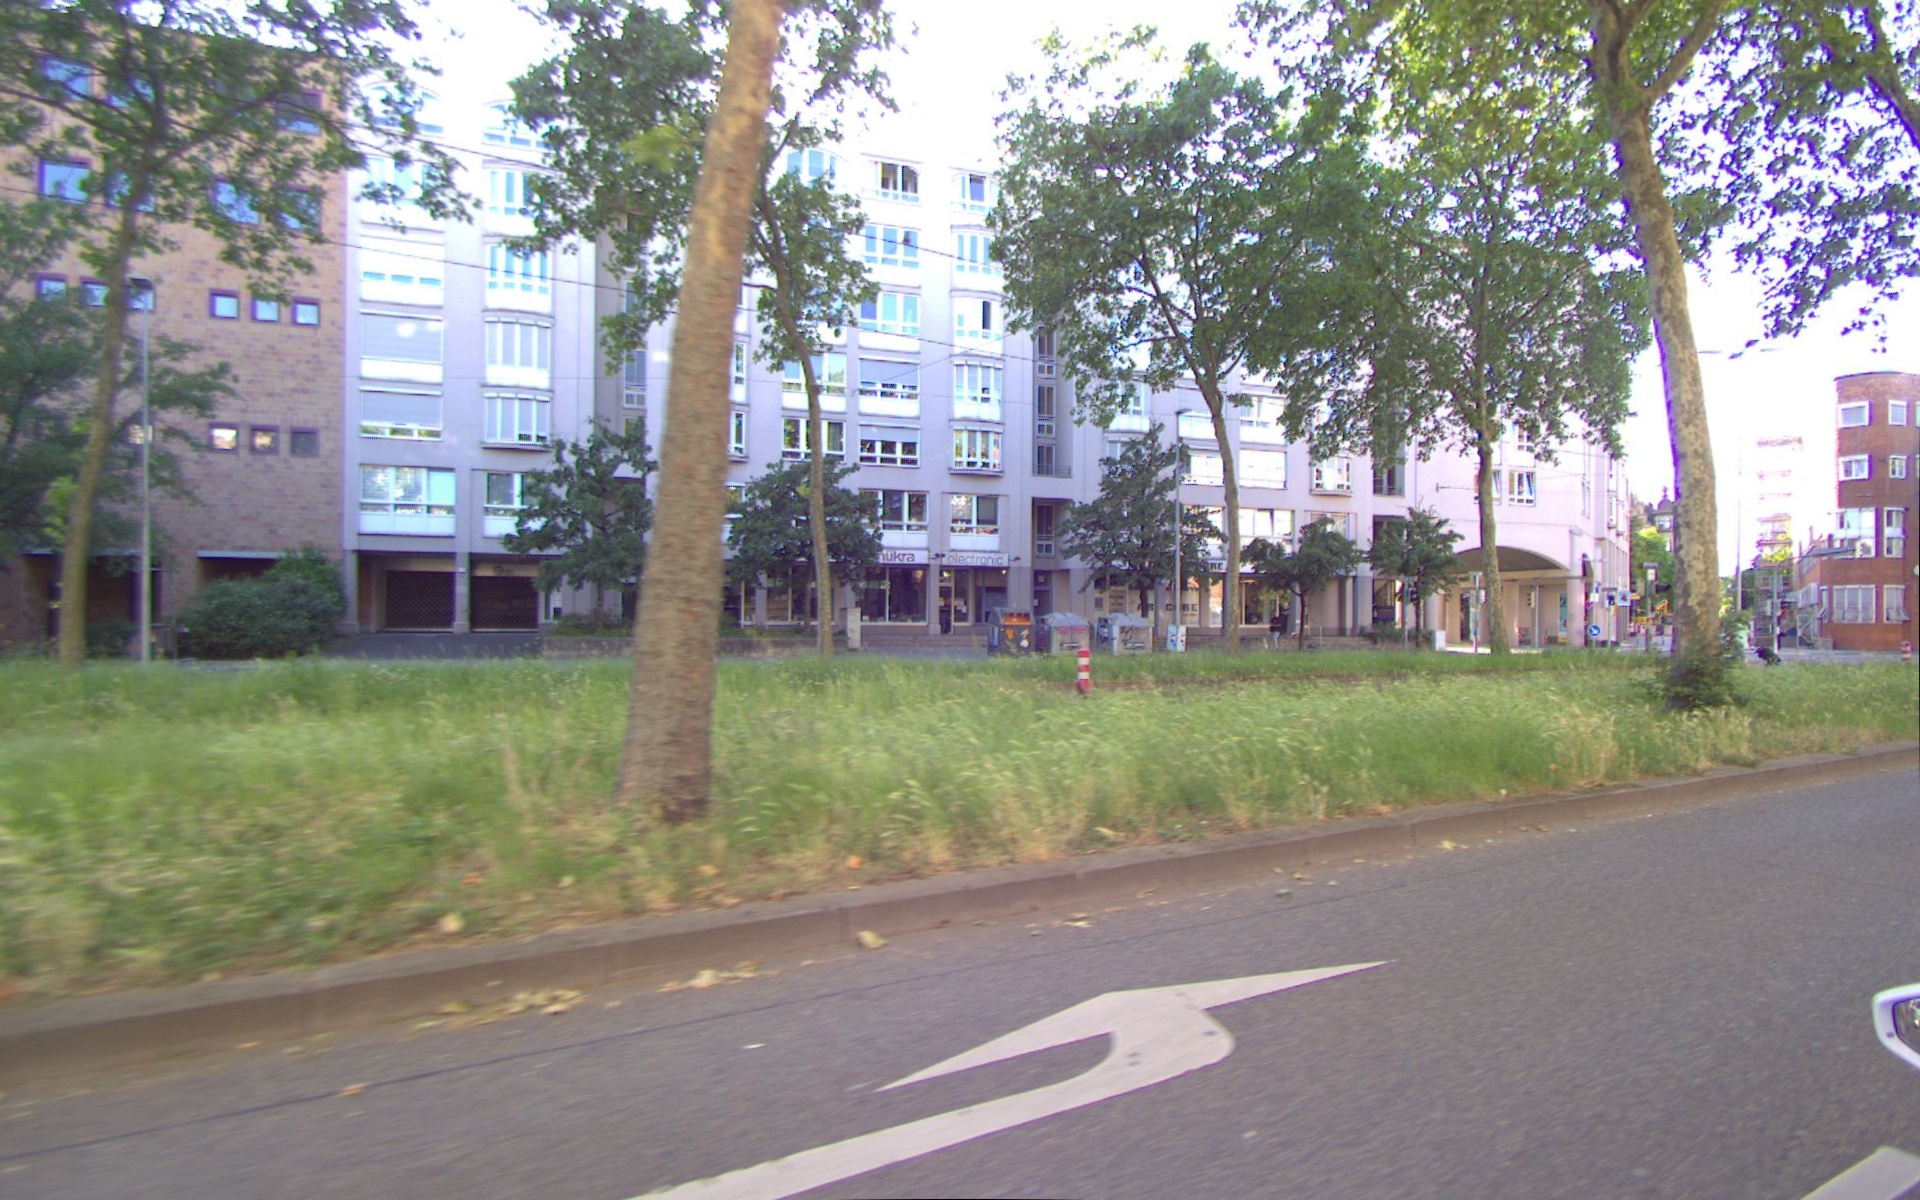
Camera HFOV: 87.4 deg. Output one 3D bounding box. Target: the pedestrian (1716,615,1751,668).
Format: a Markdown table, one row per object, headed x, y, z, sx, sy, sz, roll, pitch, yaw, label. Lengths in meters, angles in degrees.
| x | y | z | sx | sy | sz | roll | pitch | yaw | label |
| --- | --- | --- | --- | --- | --- | --- | --- | --- | --- |
| 22.296 | 1.191 | 28.949 | 0.526 | 1.523 | 0.618 | 1 | 0 | -17 | pedestrian |

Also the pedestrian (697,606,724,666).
| x | y | z | sx | sy | sz | roll | pitch | yaw | label |
| --- | --- | --- | --- | --- | --- | --- | --- | --- | --- |
| -7.561 | 1.081 | 30.445 | 0.639 | 1.763 | 0.726 | 0 | -1 | -25 | pedestrian |

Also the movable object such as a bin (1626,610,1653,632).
| x | y | z | sx | sy | sz | roll | pitch | yaw | label |
| --- | --- | --- | --- | --- | --- | --- | --- | --- | --- |
| 75.597 | 2.330 | 111.772 | 2.769 | 2.341 | 1.908 | 1 | -1 | -44 | movable object such as a bin |

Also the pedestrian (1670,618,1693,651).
| x | y | z | sx | sy | sz | roll | pitch | yaw | label |
| --- | --- | --- | --- | --- | --- | --- | --- | --- | --- |
| 41.619 | 1.964 | 57.947 | 0.741 | 1.894 | 0.853 | 1 | -1 | -22 | pedestrian |

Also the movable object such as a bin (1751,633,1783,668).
| x | y | z | sx | sy | sz | roll | pitch | yaw | label |
| --- | --- | --- | --- | --- | --- | --- | --- | --- | --- |
| 22.855 | 1.424 | 28.444 | 0.530 | 0.966 | 0.510 | 1 | -1 | -16 | movable object such as a bin |

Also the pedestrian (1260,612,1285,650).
| x | y | z | sx | sy | sz | roll | pitch | yaw | label |
| --- | --- | --- | --- | --- | --- | --- | --- | --- | --- |
| 13.713 | 1.344 | 44.046 | 0.776 | 1.660 | 0.706 | 1 | 0 | -18 | pedestrian |
